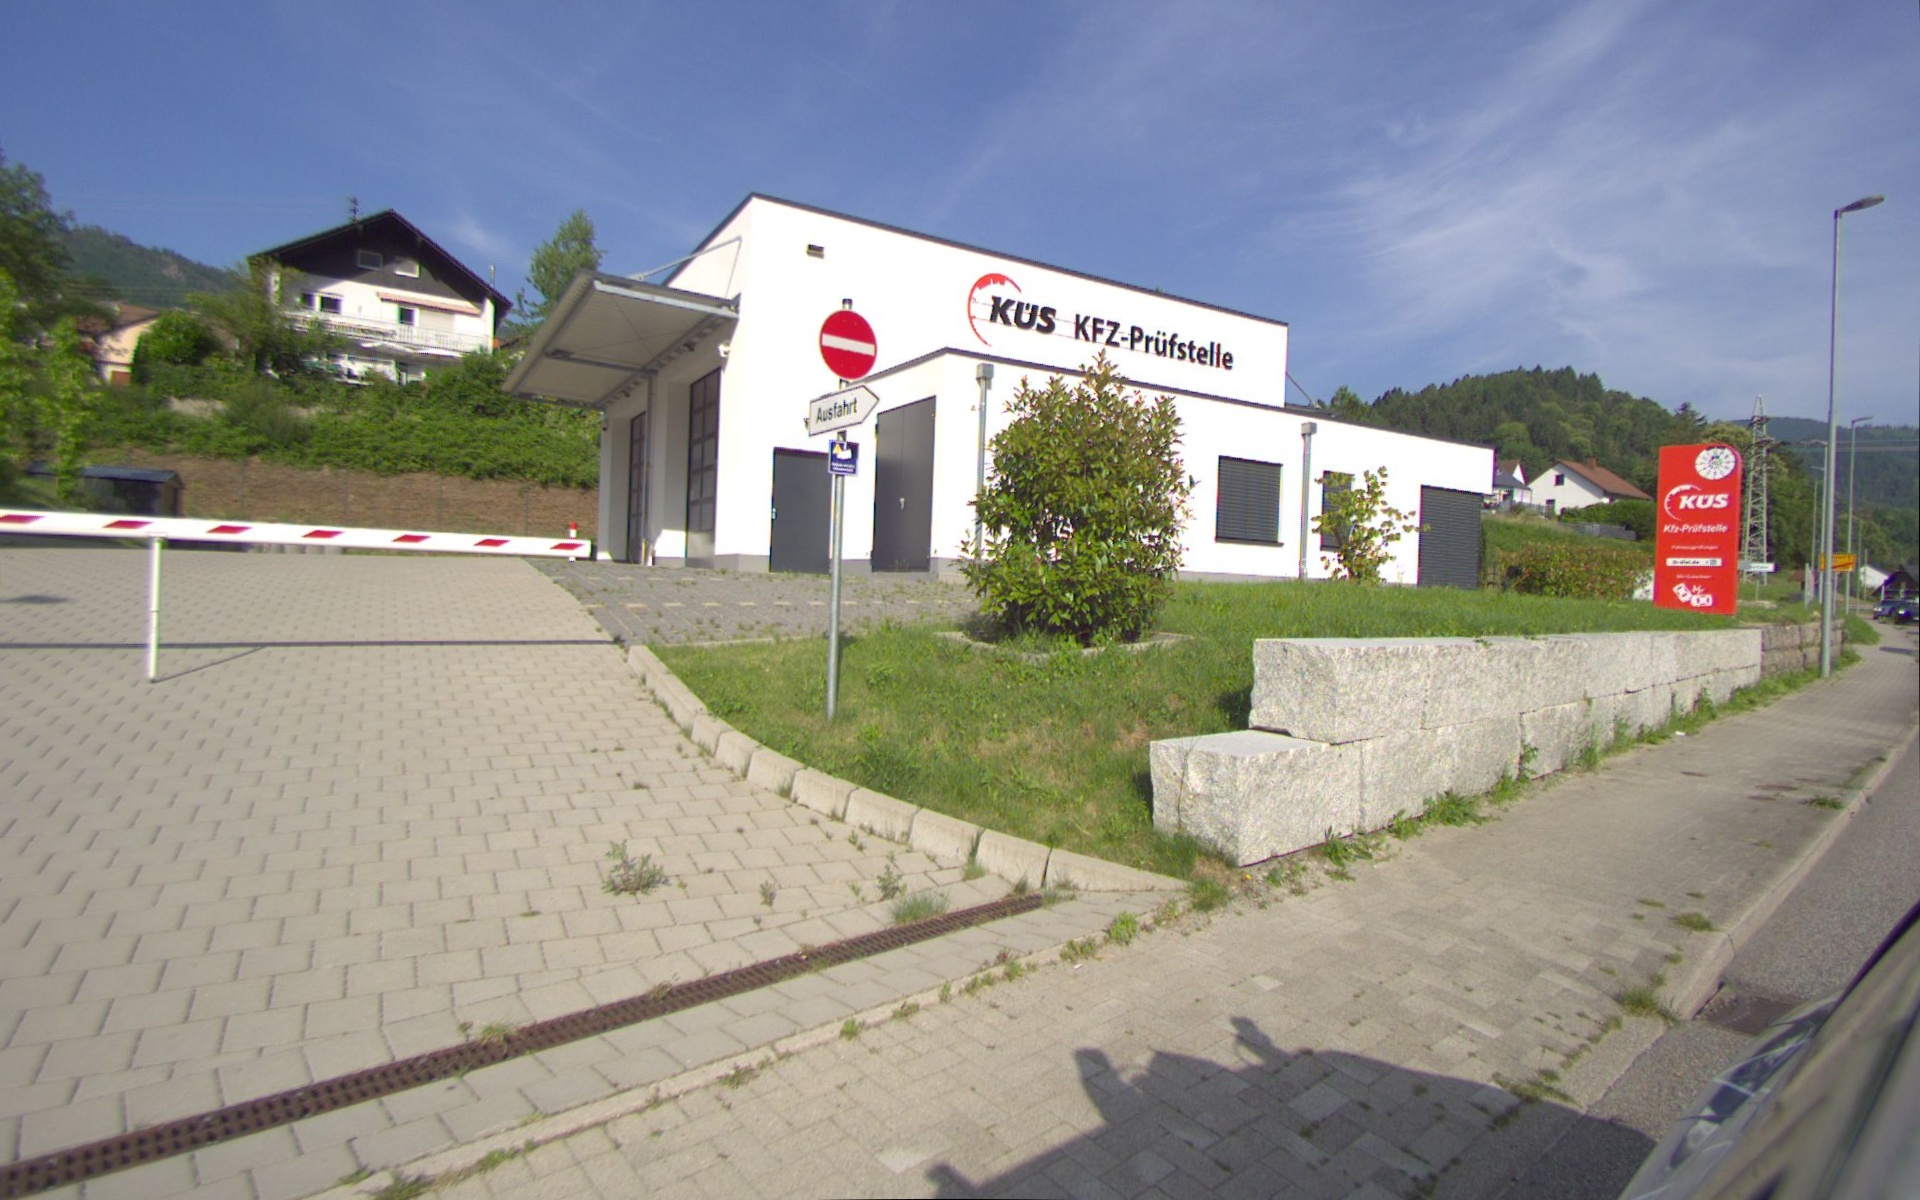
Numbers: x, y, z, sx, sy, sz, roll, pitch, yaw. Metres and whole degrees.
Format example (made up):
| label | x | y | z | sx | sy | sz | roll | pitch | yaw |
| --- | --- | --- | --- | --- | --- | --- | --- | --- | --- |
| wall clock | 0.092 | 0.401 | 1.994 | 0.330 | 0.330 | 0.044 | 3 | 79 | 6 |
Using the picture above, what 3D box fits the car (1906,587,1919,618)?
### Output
| label | x | y | z | sx | sy | sz | roll | pitch | yaw |
| --- | --- | --- | --- | --- | --- | --- | --- | --- | --- |
| car | 54.402 | 0.168 | 56.884 | 1.608 | 1.652 | 3.764 | 2 | 0 | 41 |
